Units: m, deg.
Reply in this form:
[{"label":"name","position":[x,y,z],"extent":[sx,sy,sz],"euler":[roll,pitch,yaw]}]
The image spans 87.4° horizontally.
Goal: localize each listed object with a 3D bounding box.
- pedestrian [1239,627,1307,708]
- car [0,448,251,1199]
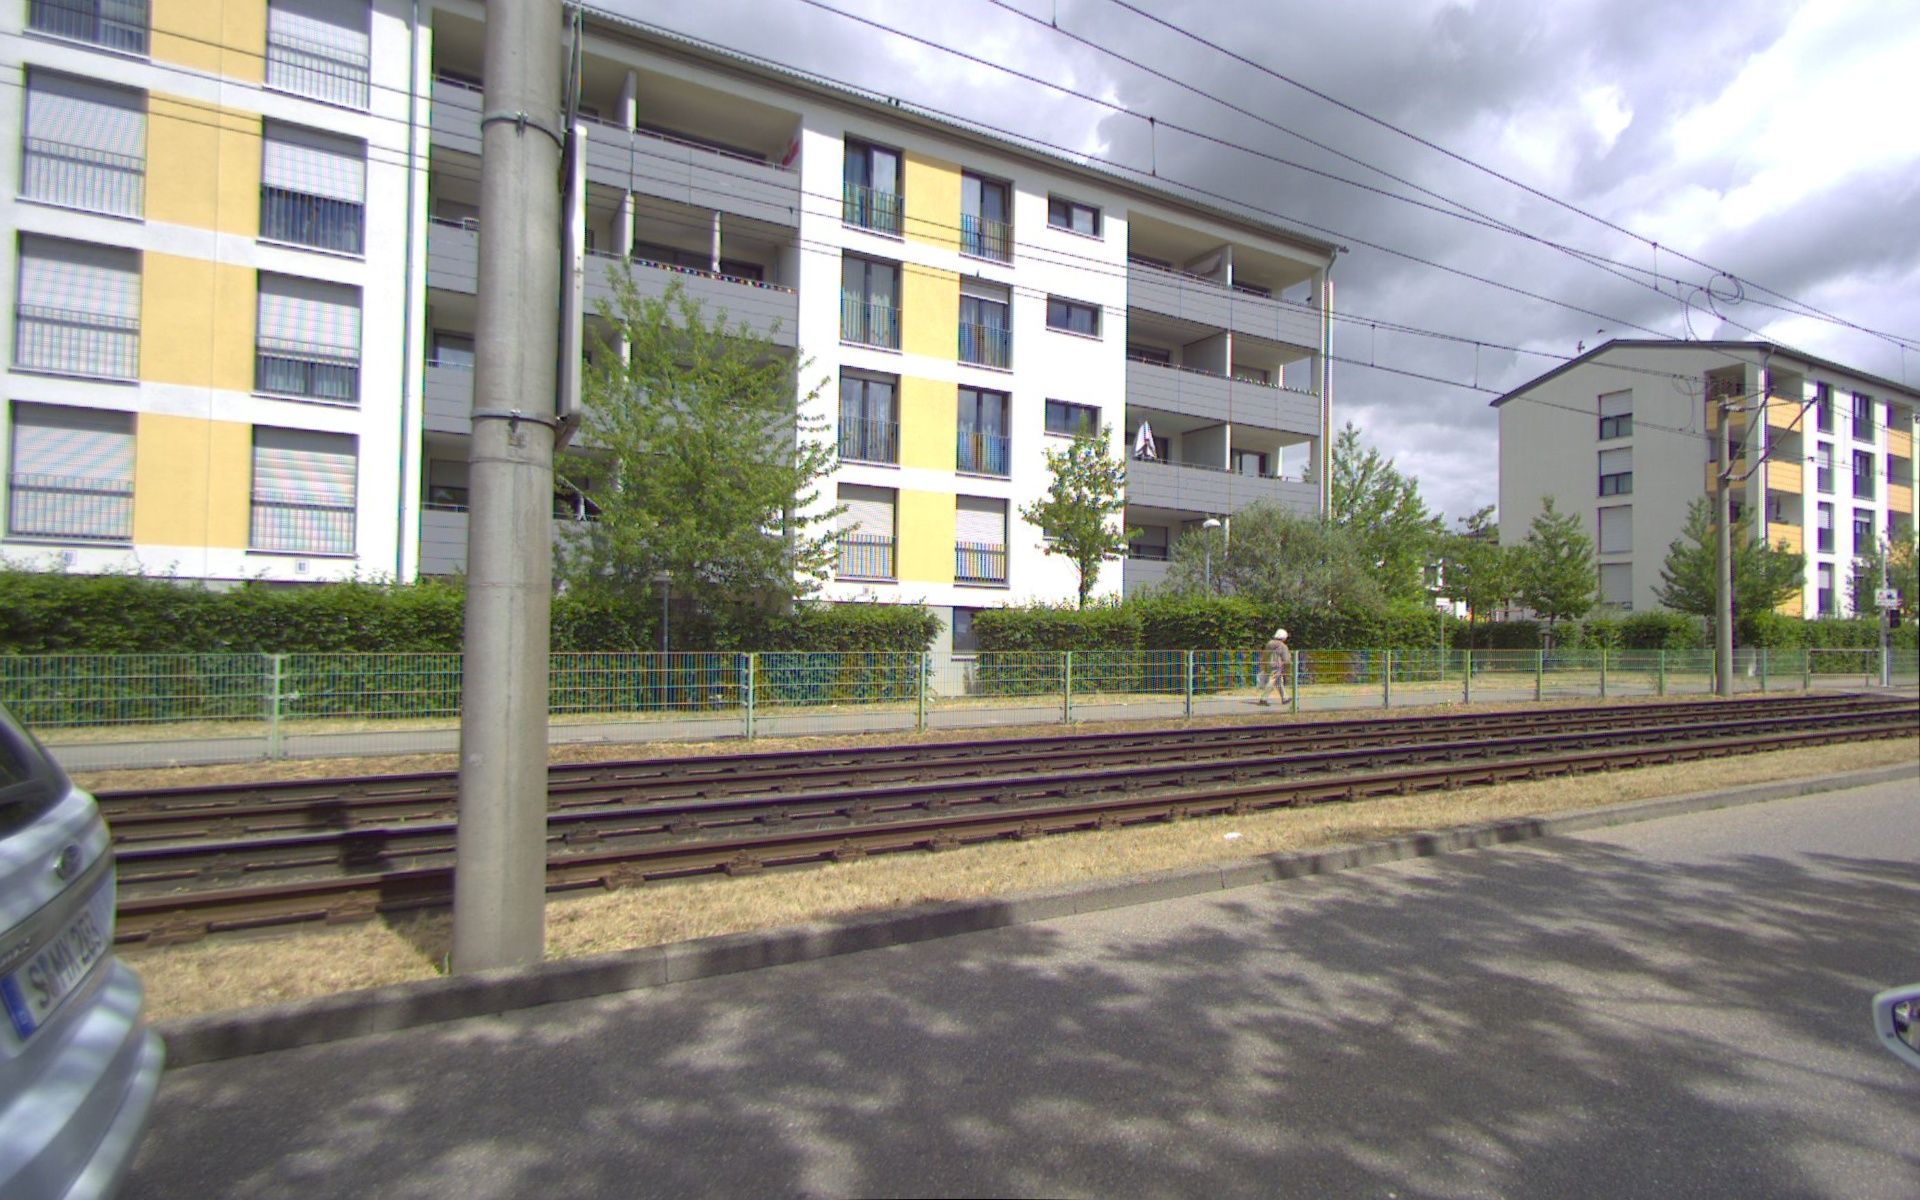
[{"label":"pedestrian","position":[6.014,1.276,19.331],"extent":[0.984,1.503,0.792],"euler":[1,-1,-31]},{"label":"car","position":[-3.434,0.593,0.753],"extent":[4.548,1.635,1.808],"euler":[2,0,-31]}]
